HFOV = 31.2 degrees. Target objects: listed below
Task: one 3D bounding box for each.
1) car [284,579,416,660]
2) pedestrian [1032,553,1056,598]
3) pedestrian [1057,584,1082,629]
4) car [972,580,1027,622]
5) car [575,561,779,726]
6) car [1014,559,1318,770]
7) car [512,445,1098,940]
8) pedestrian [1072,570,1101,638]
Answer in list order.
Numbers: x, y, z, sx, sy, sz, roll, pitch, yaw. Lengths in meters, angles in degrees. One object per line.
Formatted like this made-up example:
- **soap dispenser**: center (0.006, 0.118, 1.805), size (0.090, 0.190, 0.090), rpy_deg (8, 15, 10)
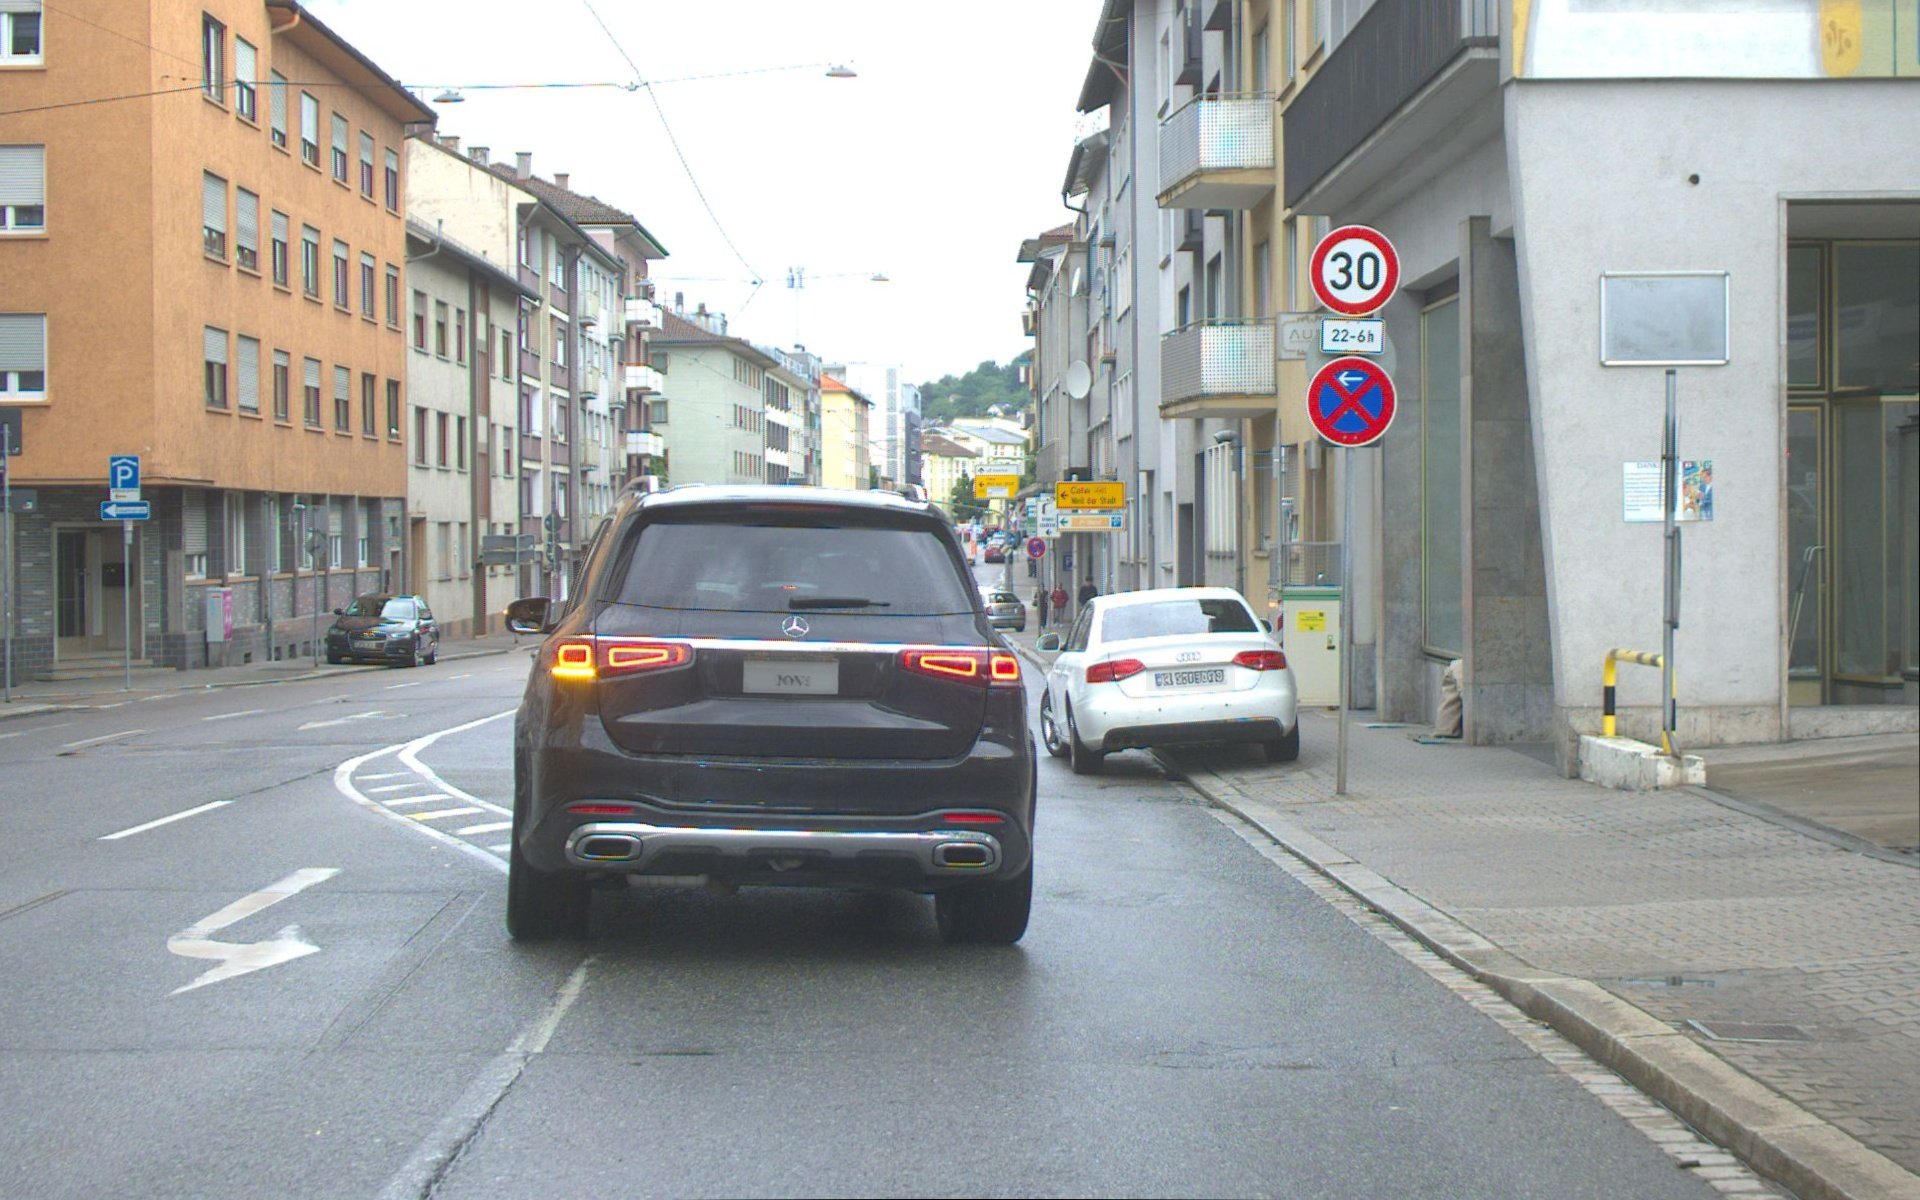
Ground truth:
- **car**: center (-11.866, 0.364, 67.123), size (1.891, 1.453, 4.550), rpy_deg (1, 1, -2)
- **pedestrian**: center (2.936, -0.863, 120.315), size (0.821, 1.560, 0.899), rpy_deg (1, 1, 3)
- **pedestrian**: center (3.837, 0.235, 120.285), size (0.821, 1.560, 0.899), rpy_deg (1, 1, 3)
- **car**: center (1.348, 0.023, 119.534), size (1.734, 1.383, 4.583), rpy_deg (1, 1, -1)
- **car**: center (-2.830, 0.395, 35.151), size (1.893, 1.505, 4.174), rpy_deg (2, 1, -3)
- **car**: center (1.595, 0.460, 28.307), size (1.893, 1.398, 4.609), rpy_deg (-6, 1, -3)
- **car**: center (-0.846, 0.291, 14.626), size (2.075, 1.759, 4.612), rpy_deg (1, 1, -8)
- **pedestrian**: center (3.293, 0.100, 89.649), size (0.655, 1.746, 0.741), rpy_deg (-3, 0, 5)
